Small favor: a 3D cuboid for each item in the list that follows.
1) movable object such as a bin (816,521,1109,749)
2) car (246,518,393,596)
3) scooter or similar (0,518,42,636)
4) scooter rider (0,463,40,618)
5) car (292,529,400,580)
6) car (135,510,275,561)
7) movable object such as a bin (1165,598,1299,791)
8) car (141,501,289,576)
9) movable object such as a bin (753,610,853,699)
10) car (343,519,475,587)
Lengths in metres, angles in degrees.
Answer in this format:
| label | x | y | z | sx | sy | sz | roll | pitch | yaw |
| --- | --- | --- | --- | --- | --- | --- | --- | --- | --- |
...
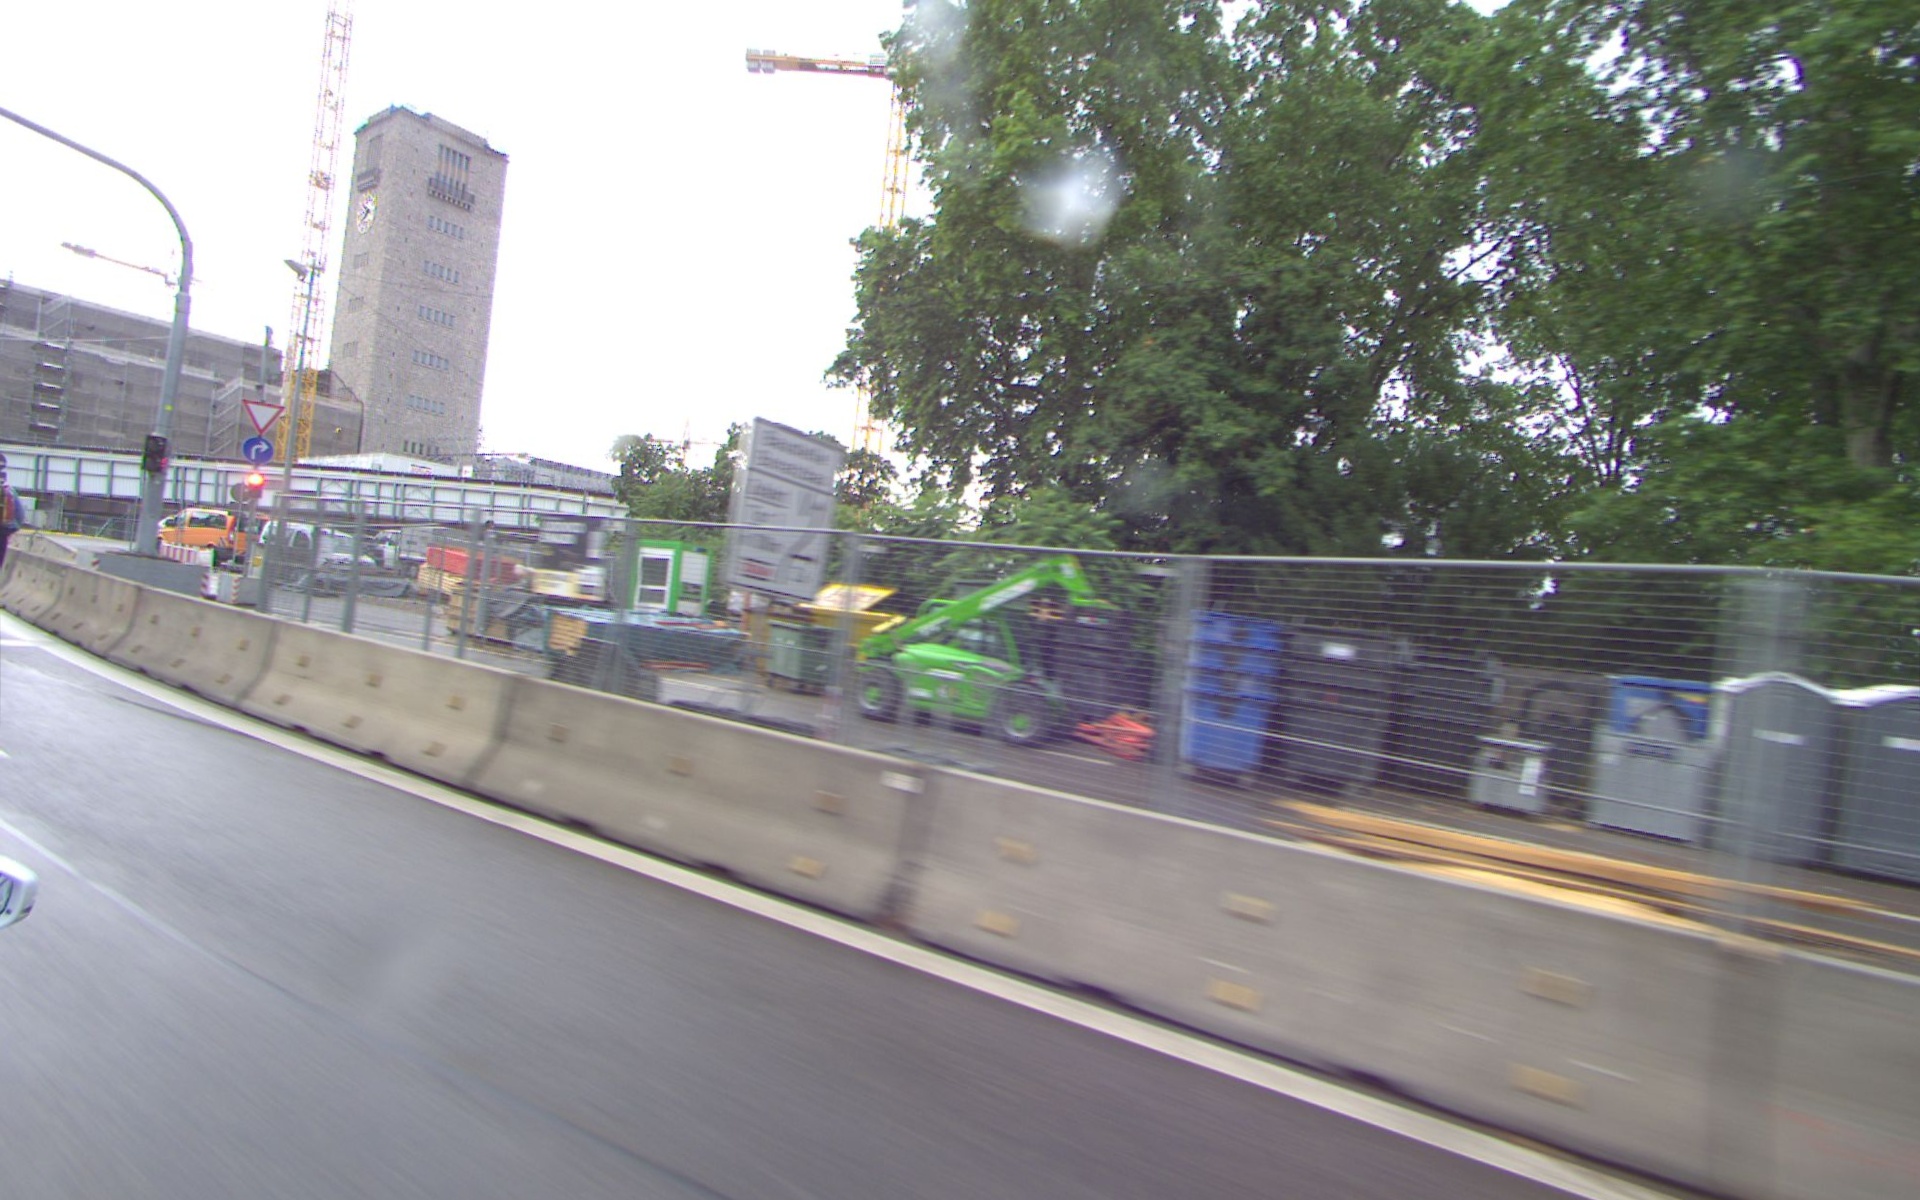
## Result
| label | x | y | z | sx | sy | sz | roll | pitch | yaw |
| --- | --- | --- | --- | --- | --- | --- | --- | --- | --- |
| movable object such as a bin | 0.031 | 0.492 | 15.550 | 3.797 | 2.843 | 1.811 | 8 | 0 | 26 |
| car | -20.779 | -1.413 | 32.563 | 5.001 | 1.828 | 1.849 | 8 | 0 | 31 |
| scooter or similar | -11.816 | -0.333 | 12.155 | 1.641 | 1.335 | 0.598 | 6 | -1 | 34 |
| scooter rider | -11.755 | -0.745 | 12.140 | 0.981 | 1.807 | 0.598 | 6 | 0 | 34 |
| car | -25.411 | -1.886 | 41.633 | 3.864 | 1.640 | 1.943 | 7 | 1 | 25 |
| car | -31.150 | -2.629 | 41.638 | 1.783 | 1.470 | 4.210 | 7 | 0 | 27 |
| movable object such as a bin | 3.523 | 1.199 | 13.246 | 1.241 | 2.230 | 1.462 | 8 | 0 | 8 |
| car | -26.024 | -2.167 | 35.111 | 5.072 | 1.999 | 1.917 | 6 | -1 | 26 |
| movable object such as a bin | -2.828 | 0.974 | 18.098 | 1.171 | 1.361 | 1.251 | 8 | 0 | -39 |
| car | -24.094 | -2.059 | 43.972 | 5.505 | 2.343 | 2.049 | 6 | 1 | 25 |
